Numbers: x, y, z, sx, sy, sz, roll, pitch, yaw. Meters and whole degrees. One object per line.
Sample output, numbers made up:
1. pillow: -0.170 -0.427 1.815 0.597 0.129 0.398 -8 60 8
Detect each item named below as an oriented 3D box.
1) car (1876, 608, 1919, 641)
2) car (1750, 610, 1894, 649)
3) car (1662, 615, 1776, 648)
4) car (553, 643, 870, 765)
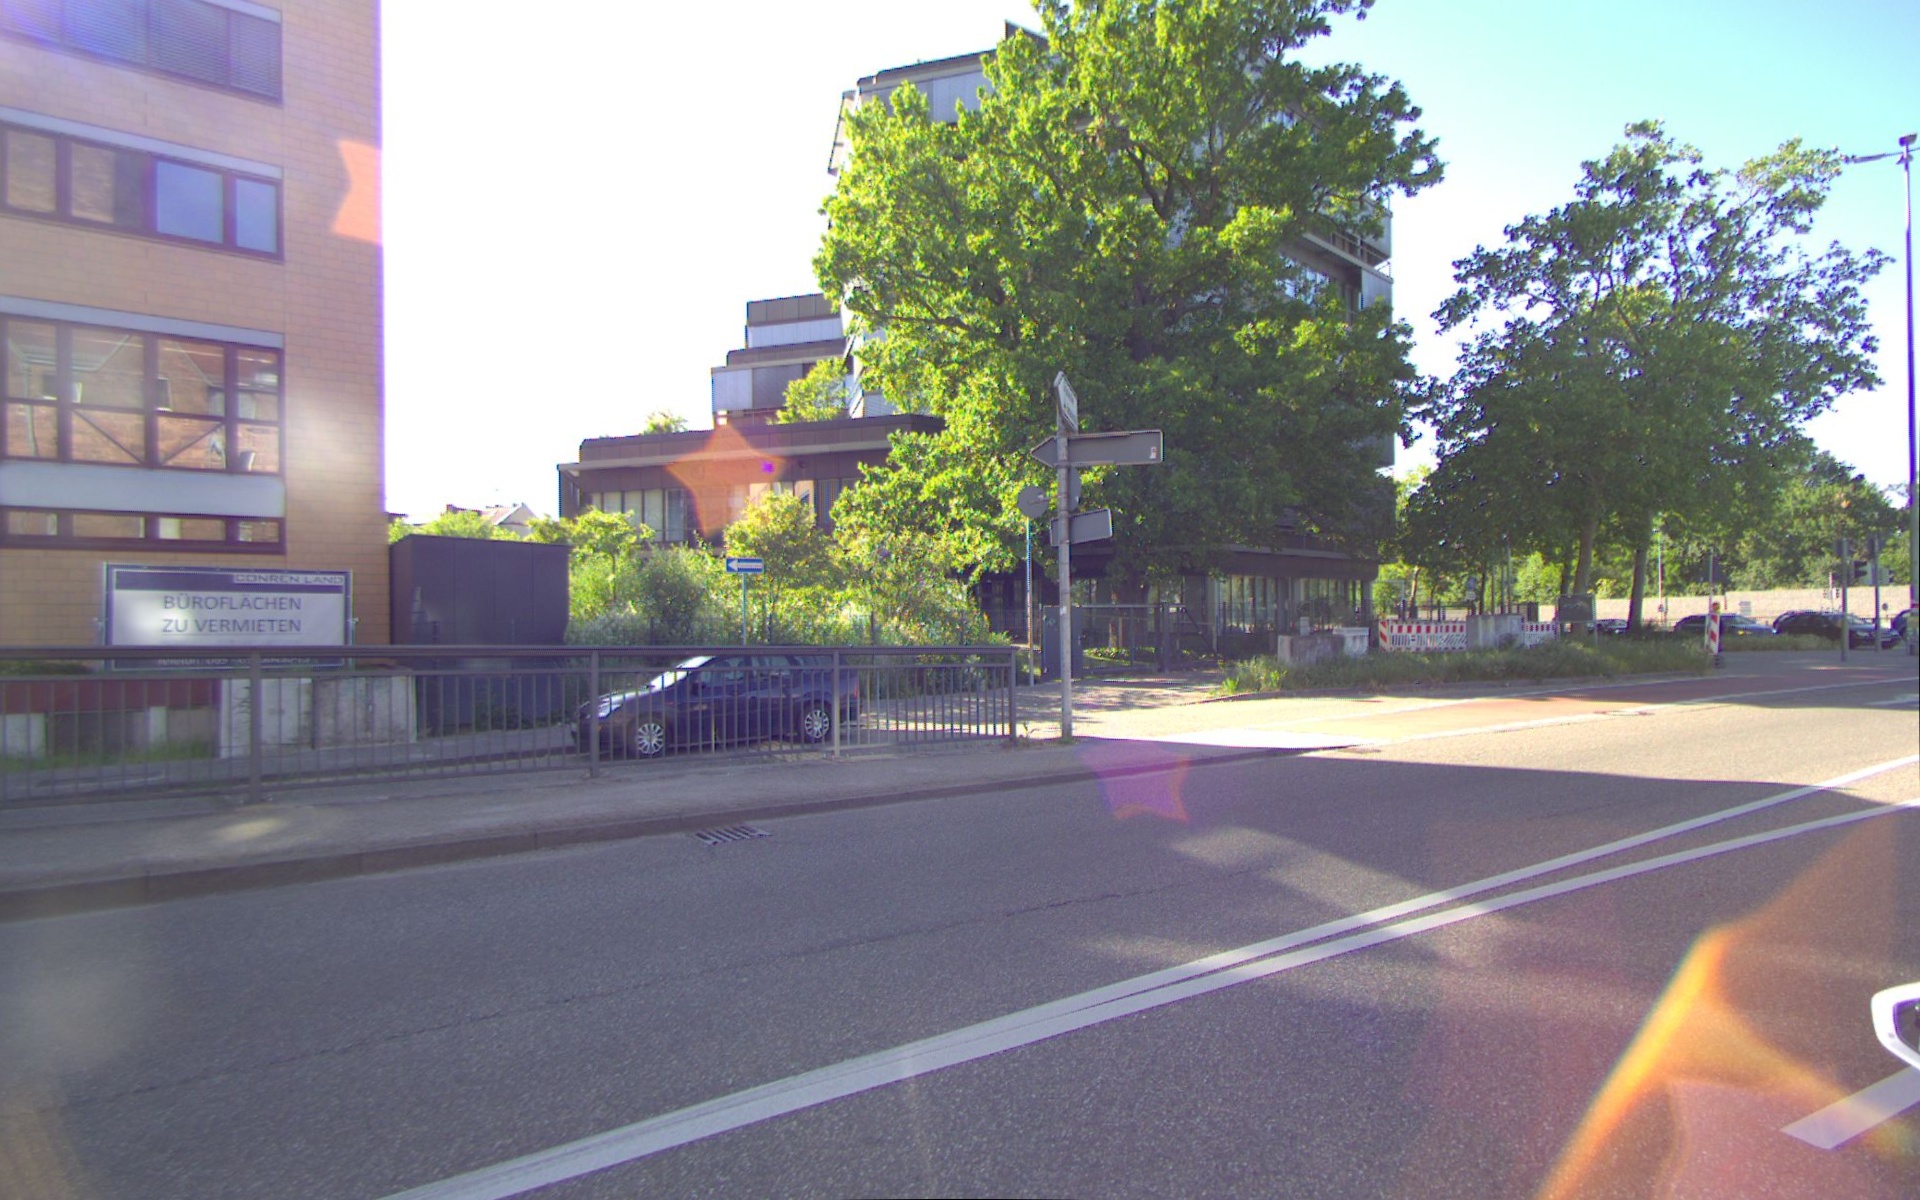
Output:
1. car: 43.400 1.052 44.235 1.792 1.457 4.446 -1 -1 -7
2. car: 34.429 1.161 40.292 1.791 1.457 4.450 -1 -1 -3
3. car: 35.182 1.455 46.739 1.791 1.457 4.450 -1 -1 -3
4. car: -3.753 1.485 15.471 4.404 1.523 1.809 0 -2 -34
